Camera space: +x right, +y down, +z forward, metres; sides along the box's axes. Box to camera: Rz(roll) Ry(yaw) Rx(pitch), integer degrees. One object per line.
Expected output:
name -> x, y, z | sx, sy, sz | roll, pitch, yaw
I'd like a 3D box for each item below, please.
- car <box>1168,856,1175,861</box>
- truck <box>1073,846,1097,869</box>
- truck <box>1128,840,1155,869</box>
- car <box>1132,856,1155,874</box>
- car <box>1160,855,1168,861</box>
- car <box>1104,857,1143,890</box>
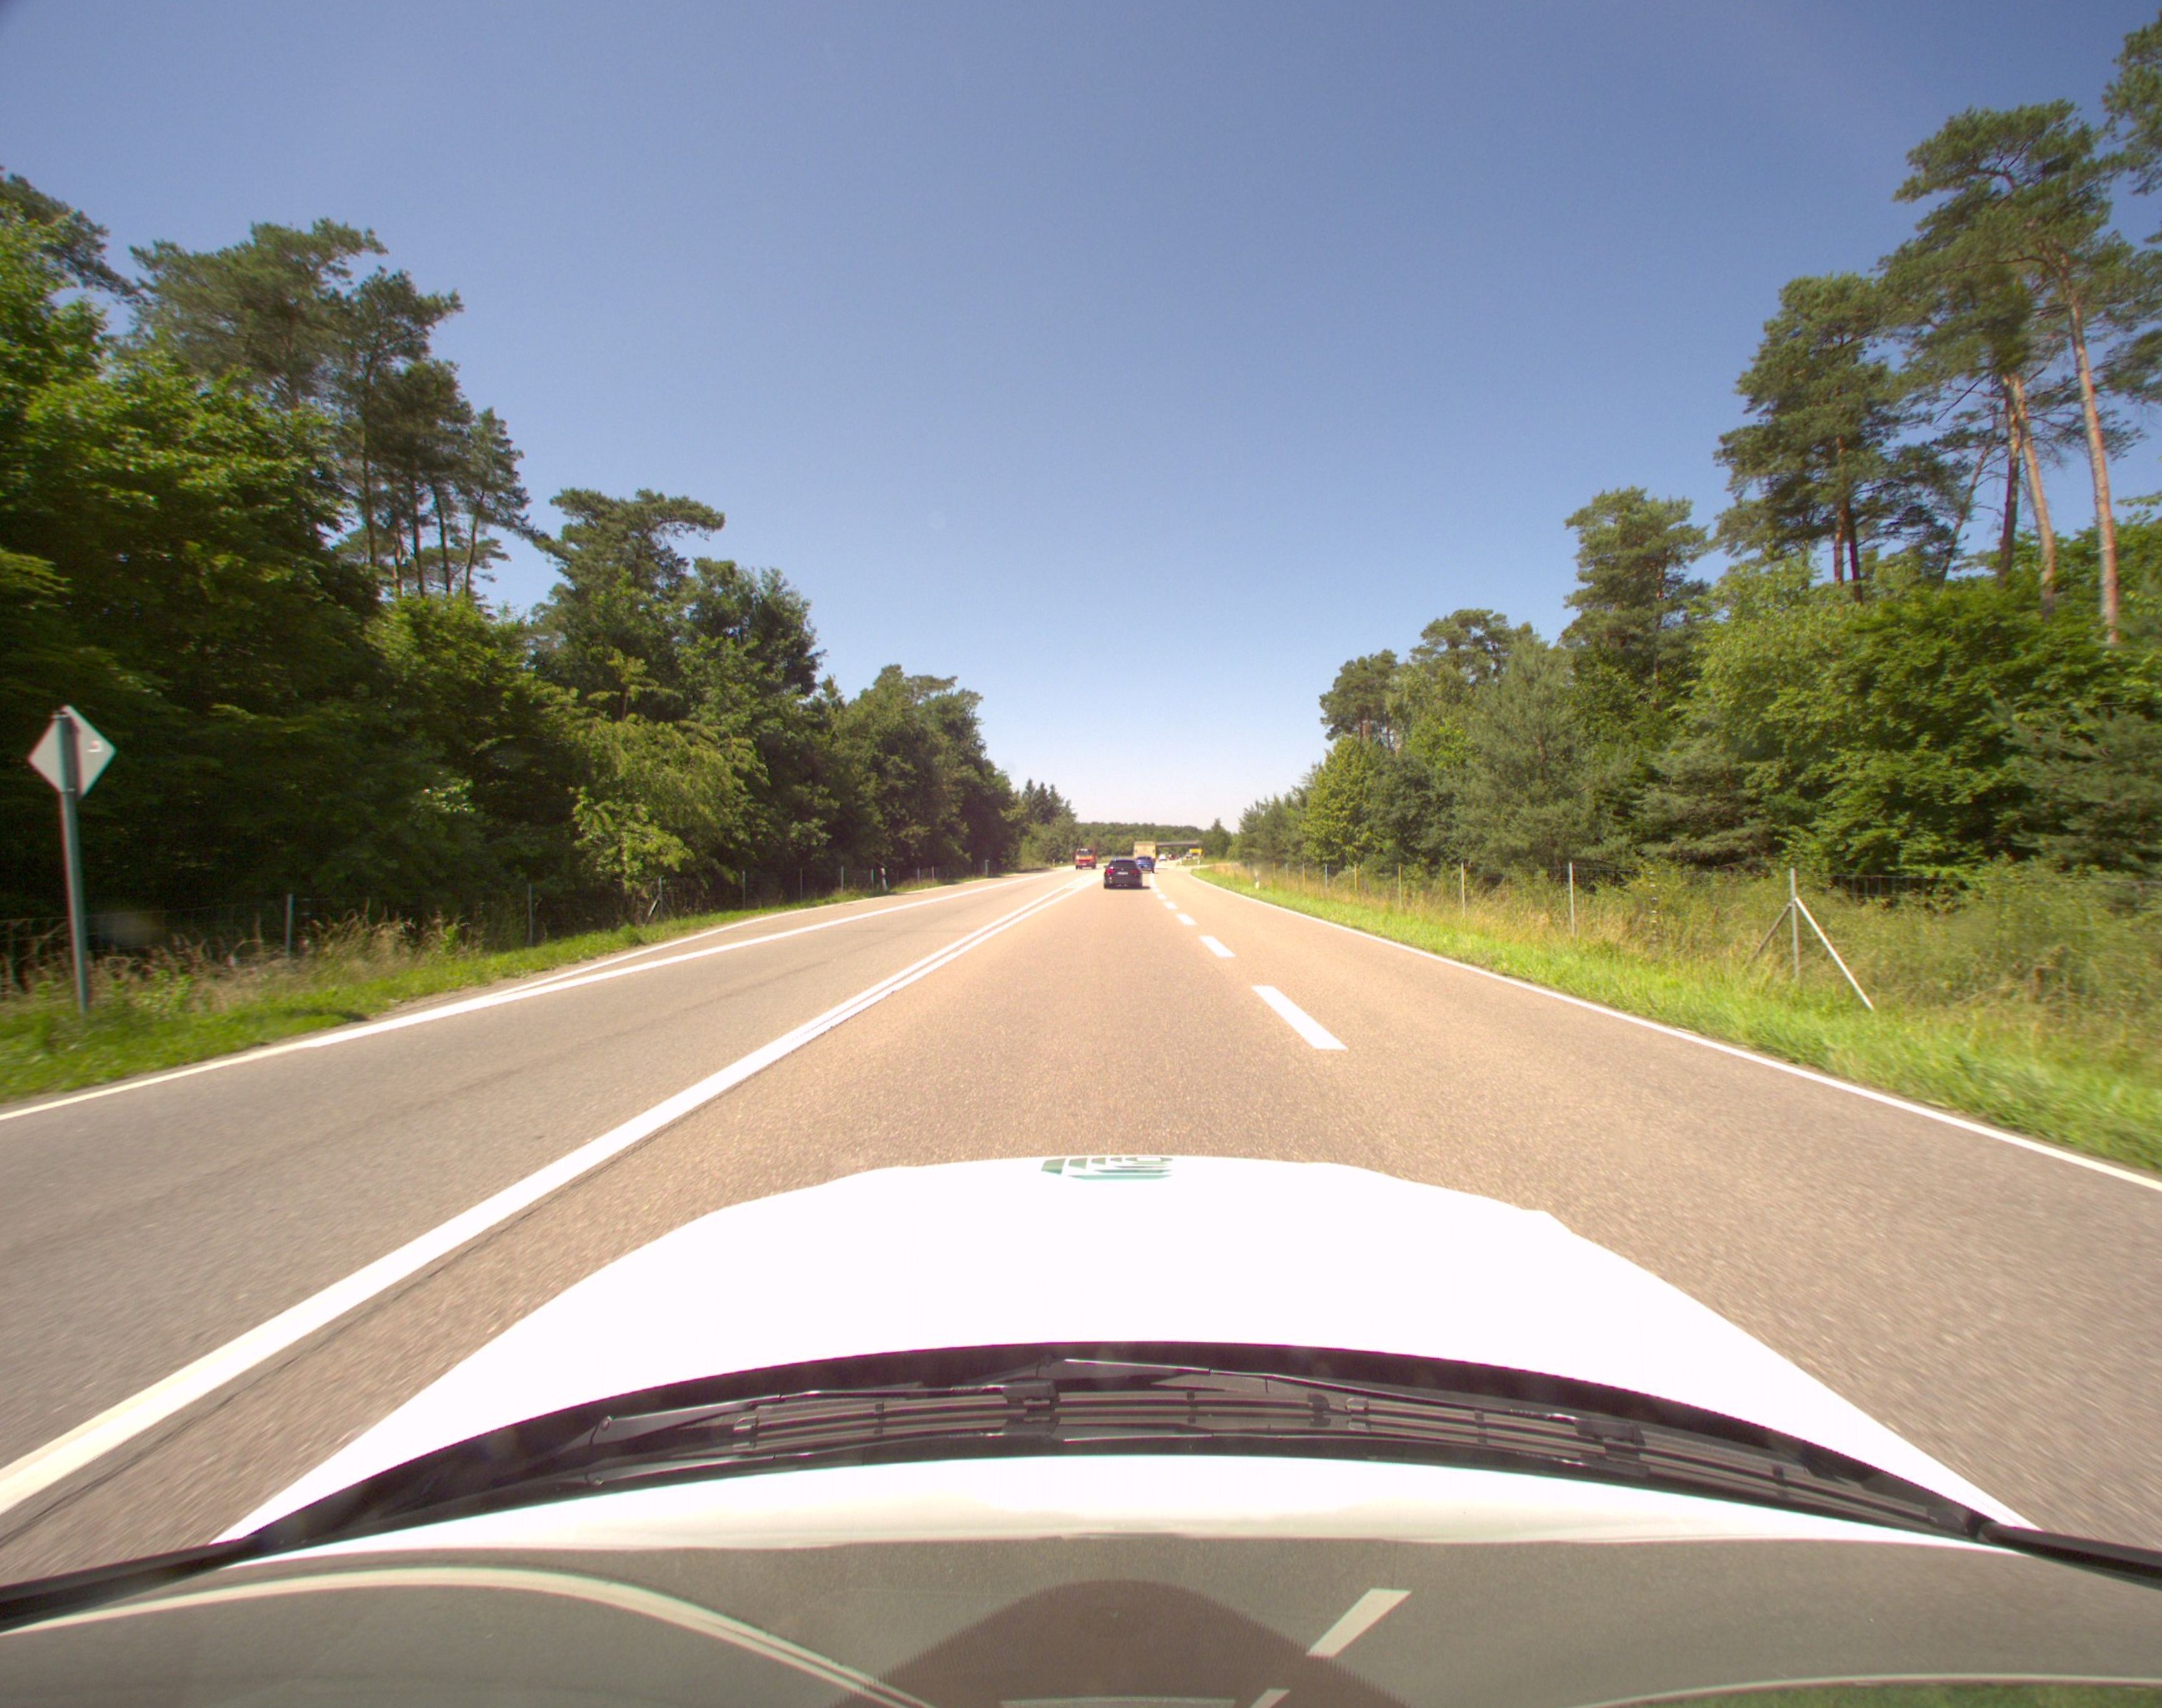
car -> 26.254, 1.261, 236.954 | 1.983, 1.420, 4.007 | 0, 0, 6
truck -> 0.524, 0.395, 97.944 | 2.387, 2.722, 6.561 | 0, 0, 5
truck -> 7.344, 0.059, 99.203 | 2.954, 3.387, 6.441 | -1, 0, 2
car -> 5.731, 1.031, 75.110 | 1.940, 1.542, 4.002 | -2, 0, 2
car -> 20.879, 1.053, 205.653 | 1.855, 1.605, 4.004 | 0, 0, 4
car -> 2.070, 0.921, 40.164 | 1.813, 1.470, 4.003 | -1, 0, 2
